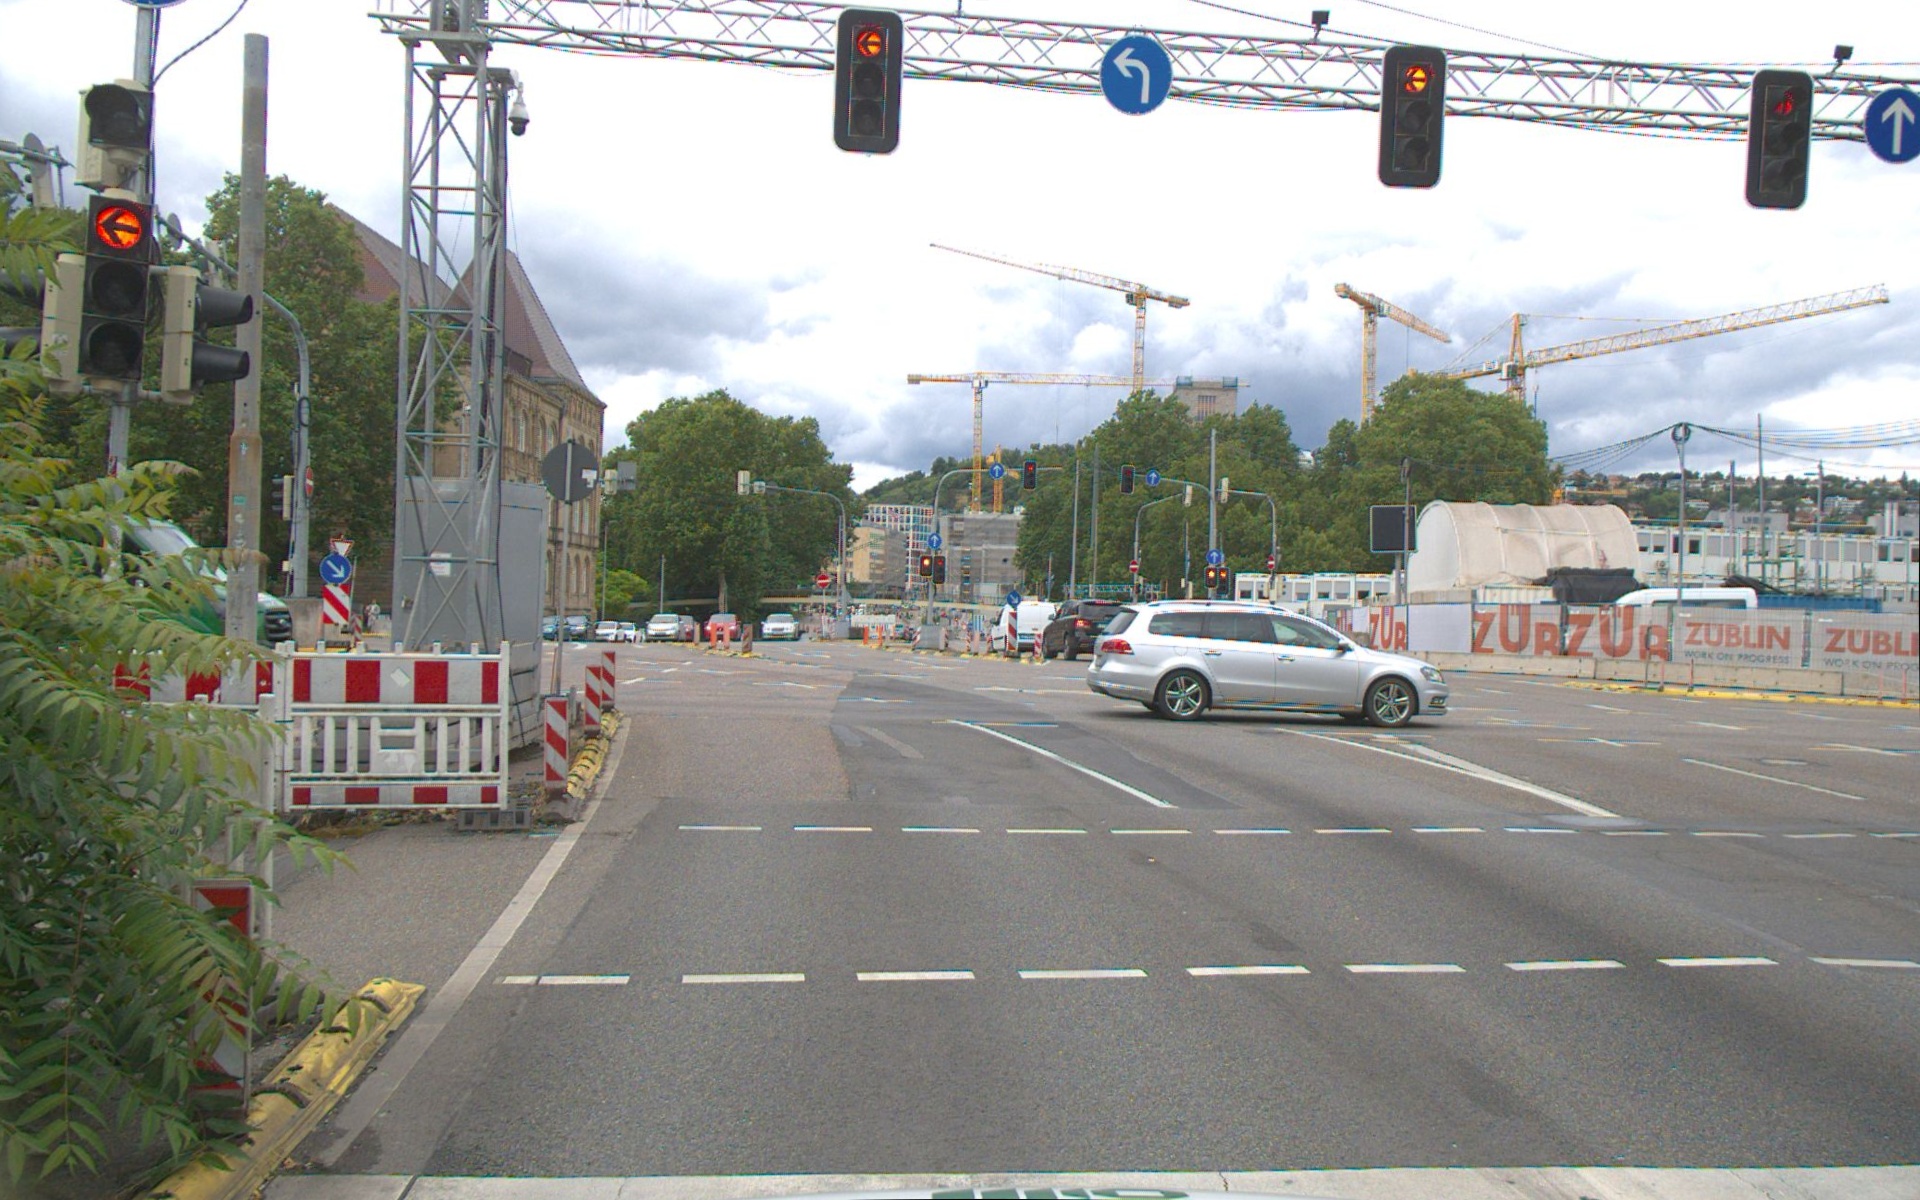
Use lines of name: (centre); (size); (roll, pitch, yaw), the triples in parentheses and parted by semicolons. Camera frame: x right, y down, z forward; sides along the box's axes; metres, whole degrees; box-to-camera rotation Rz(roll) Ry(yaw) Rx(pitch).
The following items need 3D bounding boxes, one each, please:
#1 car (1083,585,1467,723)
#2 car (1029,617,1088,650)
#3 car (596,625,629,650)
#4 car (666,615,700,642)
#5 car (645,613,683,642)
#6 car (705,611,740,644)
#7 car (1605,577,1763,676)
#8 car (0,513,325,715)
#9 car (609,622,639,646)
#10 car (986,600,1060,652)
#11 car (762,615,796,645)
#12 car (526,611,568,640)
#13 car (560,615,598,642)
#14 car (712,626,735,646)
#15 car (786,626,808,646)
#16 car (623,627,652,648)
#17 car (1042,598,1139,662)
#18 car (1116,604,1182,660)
car: (4.018, 0.686, 21.484); (4.617, 1.653, 1.680); (1, 0, -4)
car: (4.508, 1.513, 76.039); (1.650, 1.422, 3.070); (1, 0, -19)
car: (-21.219, 2.252, 101.005); (1.644, 1.422, 3.677); (1, 0, -7)
car: (-15.299, 1.557, 91.538); (1.644, 1.422, 3.677); (1, 0, -7)
car: (-15.259, 1.428, 85.379); (1.644, 1.422, 3.677); (1, 0, -7)
car: (-12.127, 1.386, 84.518); (1.644, 1.608, 3.677); (1, 0, -7)
car: (20.819, 0.747, 47.682); (3.902, 2.708, 1.683); (1, 0, 13)
car: (-11.213, 0.157, 20.672); (5.647, 2.345, 2.301); (1, 0, -6)
car: (-21.977, 2.251, 108.264); (1.644, 1.423, 3.677); (0, -4, -7)
car: (2.077, 0.852, 55.550); (1.783, 1.653, 3.993); (1, 0, -8)
car: (-9.297, 1.529, 84.872); (1.644, 1.422, 3.677); (1, 0, -7)
car: (-21.481, 1.323, 86.144); (1.644, 1.422, 3.677); (1, 0, -7)
car: (-21.288, 1.588, 92.574); (1.644, 1.422, 3.677); (1, 0, -7)
car: (-17.972, 2.726, 125.690); (1.644, 1.422, 3.677); (1, 0, -7)
car: (-12.925, 2.837, 130.919); (1.644, 1.422, 3.677); (1, 0, -7)
car: (-22.466, 2.601, 115.356); (1.644, 1.422, 3.677); (1, 0, -7)
car: (3.775, 0.842, 48.530); (1.799, 1.776, 4.245); (1, 0, -10)
car: (6.037, 0.999, 53.128); (1.642, 1.732, 3.374); (1, 0, -1)
